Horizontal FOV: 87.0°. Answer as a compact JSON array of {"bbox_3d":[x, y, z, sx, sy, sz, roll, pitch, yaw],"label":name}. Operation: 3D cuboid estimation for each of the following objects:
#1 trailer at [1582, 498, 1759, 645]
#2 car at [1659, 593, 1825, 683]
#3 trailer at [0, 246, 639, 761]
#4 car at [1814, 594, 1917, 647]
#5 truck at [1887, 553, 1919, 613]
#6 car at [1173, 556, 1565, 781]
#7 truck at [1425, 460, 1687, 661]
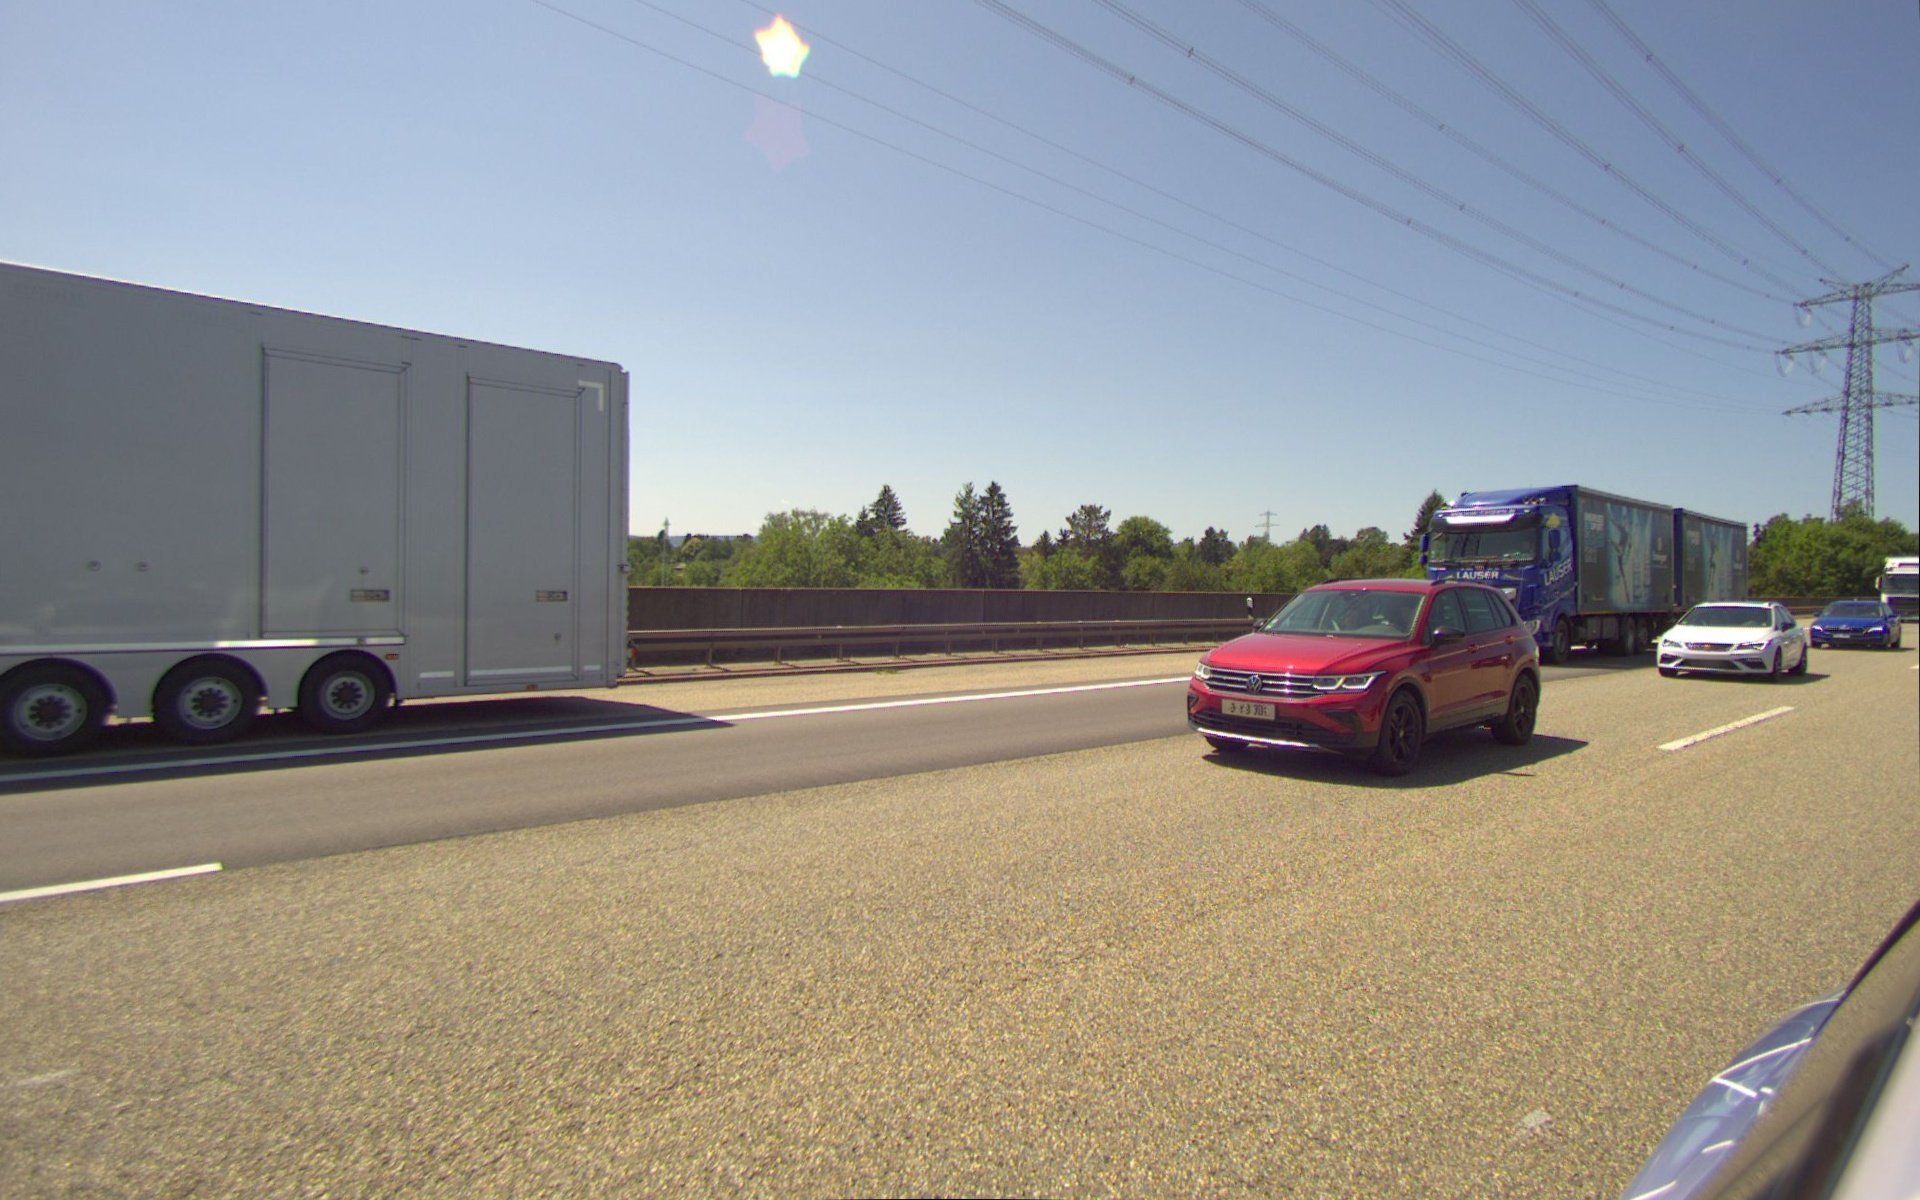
[{"bbox_3d":[22.130,-0.791,31.313,8.331,3.995,2.570,0,0,-41],"label":"trailer"},{"bbox_3d":[14.851,0.625,19.145,4.003,1.508,1.841,0,0,-42],"label":"car"},{"bbox_3d":[-9.617,-0.782,8.246,13.535,4.172,2.539,0,0,-42],"label":"trailer"},{"bbox_3d":[27.585,0.571,30.784,4.135,1.463,1.739,0,1,-40],"label":"car"},{"bbox_3d":[61.587,-1.043,64.135,10.776,3.604,2.983,-1,0,-41],"label":"truck"},{"bbox_3d":[4.019,0.492,9.606,4.151,1.683,1.778,0,1,-41],"label":"car"},{"bbox_3d":[15.127,-0.873,25.153,10.265,4.117,2.527,-1,1,-41],"label":"truck"}]
